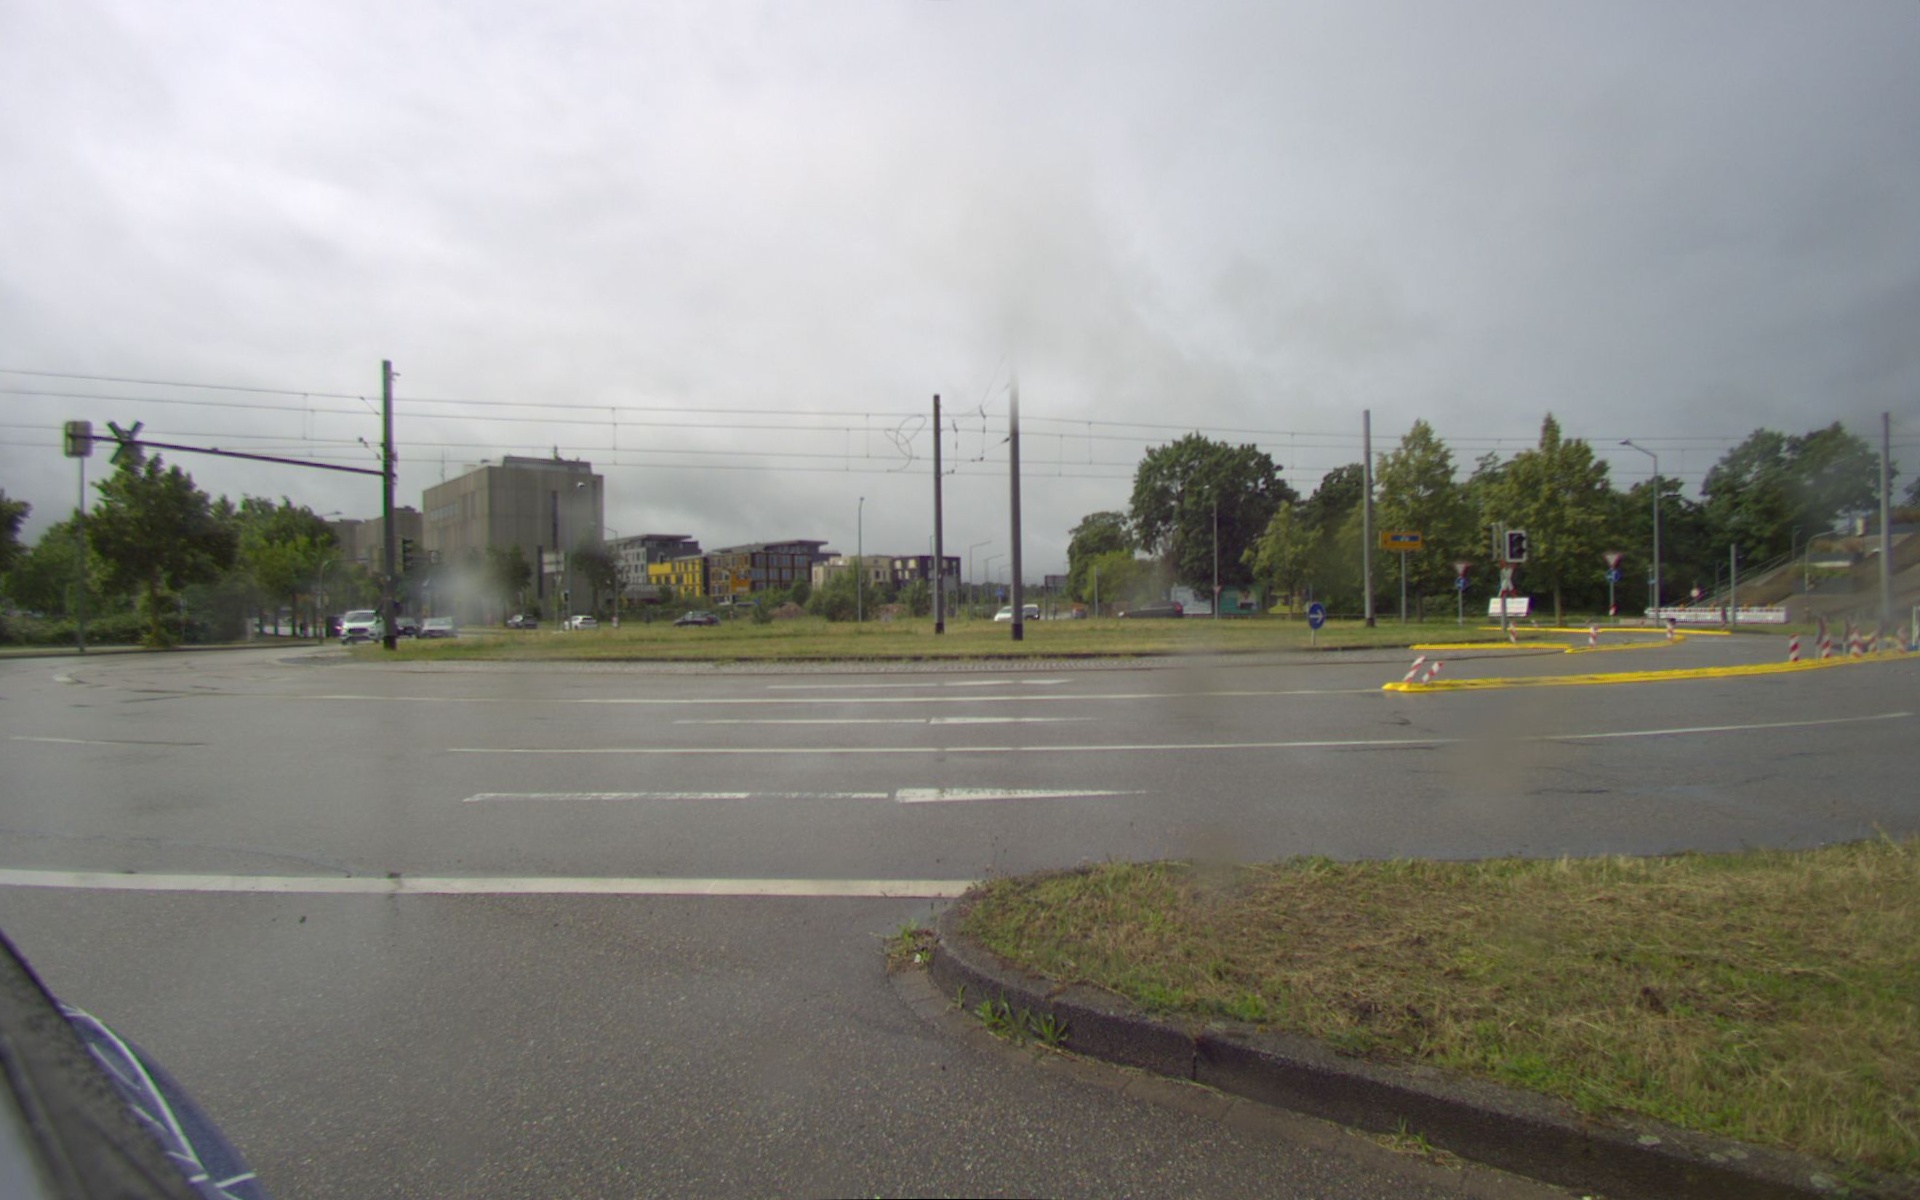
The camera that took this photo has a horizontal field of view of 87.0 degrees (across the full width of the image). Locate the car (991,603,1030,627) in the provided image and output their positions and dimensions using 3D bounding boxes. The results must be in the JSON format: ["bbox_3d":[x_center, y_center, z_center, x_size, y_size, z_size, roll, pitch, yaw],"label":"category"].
[{"bbox_3d":[3.942,1.141,78.885,1.863,1.829,3.971,-1,0,22],"label":"car"}]

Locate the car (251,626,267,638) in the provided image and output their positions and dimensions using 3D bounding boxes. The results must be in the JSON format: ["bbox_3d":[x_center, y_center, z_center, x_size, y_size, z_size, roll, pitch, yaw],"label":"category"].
[{"bbox_3d":[-104.507,4.769,150.895,1.844,1.676,4.494,4,-6,-34],"label":"car"}]

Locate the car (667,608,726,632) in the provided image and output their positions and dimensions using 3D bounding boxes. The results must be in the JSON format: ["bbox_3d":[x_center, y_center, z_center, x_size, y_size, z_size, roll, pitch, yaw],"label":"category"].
[{"bbox_3d":[-19.493,1.450,74.845,3.783,1.684,1.859,-1,0,13],"label":"car"}]

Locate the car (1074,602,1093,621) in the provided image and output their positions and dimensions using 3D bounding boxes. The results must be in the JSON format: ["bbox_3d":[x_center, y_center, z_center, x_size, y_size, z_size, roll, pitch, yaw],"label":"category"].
[{"bbox_3d":[14.023,1.287,115.203,1.975,2.029,3.994,-3,-1,5],"label":"car"}]

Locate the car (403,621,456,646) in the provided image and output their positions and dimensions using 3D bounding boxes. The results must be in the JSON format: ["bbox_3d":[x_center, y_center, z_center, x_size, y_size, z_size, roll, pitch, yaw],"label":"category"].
[{"bbox_3d":[-31.995,2.024,60.979,1.838,1.390,4.558,-1,-1,-41],"label":"car"}]

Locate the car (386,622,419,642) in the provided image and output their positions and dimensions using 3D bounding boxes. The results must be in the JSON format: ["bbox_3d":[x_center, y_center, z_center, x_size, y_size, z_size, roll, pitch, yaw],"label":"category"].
[{"bbox_3d":[-44.858,2.538,81.336,1.836,1.547,4.499,0,-1,-35],"label":"car"}]

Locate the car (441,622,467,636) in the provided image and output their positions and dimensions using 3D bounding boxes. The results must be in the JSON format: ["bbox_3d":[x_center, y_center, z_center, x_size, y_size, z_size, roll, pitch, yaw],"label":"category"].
[{"bbox_3d":[-54.959,3.191,109.981,1.707,1.424,4.135,0,-3,-38],"label":"car"}]

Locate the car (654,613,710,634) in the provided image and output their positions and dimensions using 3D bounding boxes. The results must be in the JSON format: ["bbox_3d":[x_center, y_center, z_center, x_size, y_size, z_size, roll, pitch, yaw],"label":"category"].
[{"bbox_3d":[-22.677,1.899,82.561,4.452,1.685,1.848,0,-1,30],"label":"car"}]

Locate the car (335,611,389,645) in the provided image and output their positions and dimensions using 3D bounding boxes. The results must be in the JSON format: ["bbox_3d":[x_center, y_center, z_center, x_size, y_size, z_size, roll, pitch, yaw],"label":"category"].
[{"bbox_3d":[-36.573,1.727,62.034,2.043,2.003,4.815,0,-2,-20],"label":"car"}]

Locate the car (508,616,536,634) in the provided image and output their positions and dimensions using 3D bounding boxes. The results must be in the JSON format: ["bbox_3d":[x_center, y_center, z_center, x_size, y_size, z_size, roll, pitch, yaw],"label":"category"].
[{"bbox_3d":[-44.154,2.506,101.964,1.844,1.676,4.495,-1,-1,-33],"label":"car"}]

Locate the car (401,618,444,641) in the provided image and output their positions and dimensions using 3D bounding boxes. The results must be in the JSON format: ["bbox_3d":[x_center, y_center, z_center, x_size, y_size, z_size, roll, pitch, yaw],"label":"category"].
[{"bbox_3d":[-38.420,2.078,72.322,1.838,1.547,4.495,0,-1,-40],"label":"car"}]

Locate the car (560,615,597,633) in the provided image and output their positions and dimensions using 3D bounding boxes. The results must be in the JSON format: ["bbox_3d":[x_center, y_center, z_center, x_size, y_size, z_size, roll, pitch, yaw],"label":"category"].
[{"bbox_3d":[-33.572,2.127,88.954,1.701,1.519,3.908,1,-2,-44],"label":"car"}]
